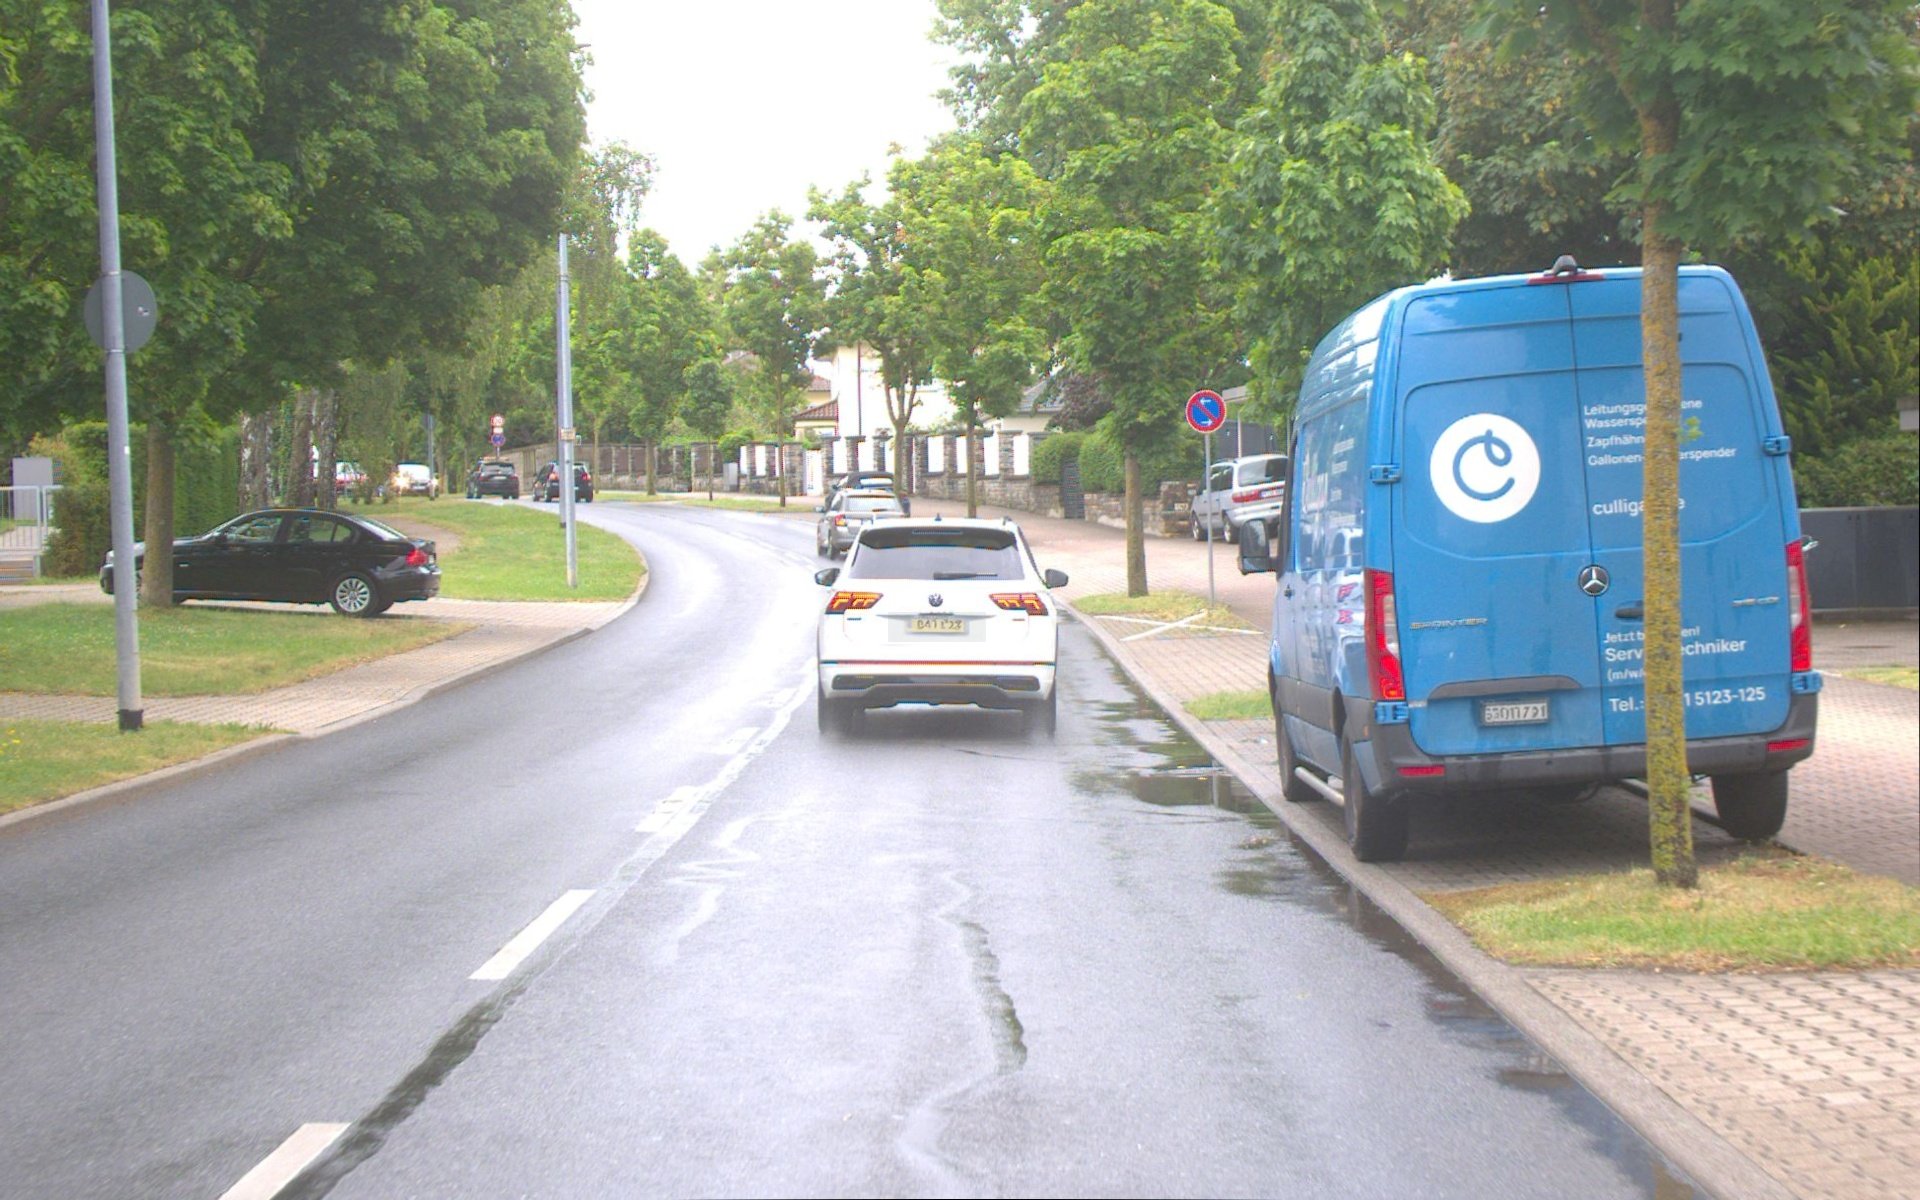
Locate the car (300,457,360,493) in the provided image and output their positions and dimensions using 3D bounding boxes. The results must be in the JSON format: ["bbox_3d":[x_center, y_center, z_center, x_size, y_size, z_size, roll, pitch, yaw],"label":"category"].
[{"bbox_3d":[-25.720,-5.110,140.381,1.766,1.422,4.002,0,2,-20],"label":"car"}]

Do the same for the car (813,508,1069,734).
[{"bbox_3d":[-0.177,0.105,27.246,1.865,1.645,4.000,-1,1,-1],"label":"car"}]

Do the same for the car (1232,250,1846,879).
[{"bbox_3d":[2.686,-0.218,17.414,1.993,2.578,5.634,-3,1,-1],"label":"car"}]

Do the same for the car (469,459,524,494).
[{"bbox_3d":[-19.304,-5.142,143.110,1.642,1.422,4.002,0,2,-17],"label":"car"}]

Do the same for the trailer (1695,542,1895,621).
[{"bbox_3d":[9.760,-0.225,40.254,2.042,0.880,1.364,1,1,3],"label":"trailer"}]

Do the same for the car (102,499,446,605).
[{"bbox_3d":[-9.180,-0.652,46.159,4.219,1.358,1.690,1,1,4],"label":"car"}]

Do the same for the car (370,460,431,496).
[{"bbox_3d":[-23.089,-5.045,141.888,1.766,1.422,4.002,0,2,-20],"label":"car"}]

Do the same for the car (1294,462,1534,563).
[{"bbox_3d":[8.179,-1.593,62.132,3.986,1.702,1.830,0,4,-4],"label":"car"}]

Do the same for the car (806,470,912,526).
[{"bbox_3d":[-2.708,-2.734,91.400,1.642,1.422,4.002,0,2,-19],"label":"car"}]

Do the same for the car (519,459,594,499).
[{"bbox_3d":[-14.901,-4.486,126.821,1.642,1.422,4.001,0,3,-24],"label":"car"}]

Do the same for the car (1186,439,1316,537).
[{"bbox_3d":[6.128,-2.404,72.859,1.823,1.698,4.001,-9,4,-5],"label":"car"}]

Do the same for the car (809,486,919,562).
[{"bbox_3d":[-2.057,-1.583,72.879,1.768,1.546,4.001,-1,1,-10],"label":"car"}]
